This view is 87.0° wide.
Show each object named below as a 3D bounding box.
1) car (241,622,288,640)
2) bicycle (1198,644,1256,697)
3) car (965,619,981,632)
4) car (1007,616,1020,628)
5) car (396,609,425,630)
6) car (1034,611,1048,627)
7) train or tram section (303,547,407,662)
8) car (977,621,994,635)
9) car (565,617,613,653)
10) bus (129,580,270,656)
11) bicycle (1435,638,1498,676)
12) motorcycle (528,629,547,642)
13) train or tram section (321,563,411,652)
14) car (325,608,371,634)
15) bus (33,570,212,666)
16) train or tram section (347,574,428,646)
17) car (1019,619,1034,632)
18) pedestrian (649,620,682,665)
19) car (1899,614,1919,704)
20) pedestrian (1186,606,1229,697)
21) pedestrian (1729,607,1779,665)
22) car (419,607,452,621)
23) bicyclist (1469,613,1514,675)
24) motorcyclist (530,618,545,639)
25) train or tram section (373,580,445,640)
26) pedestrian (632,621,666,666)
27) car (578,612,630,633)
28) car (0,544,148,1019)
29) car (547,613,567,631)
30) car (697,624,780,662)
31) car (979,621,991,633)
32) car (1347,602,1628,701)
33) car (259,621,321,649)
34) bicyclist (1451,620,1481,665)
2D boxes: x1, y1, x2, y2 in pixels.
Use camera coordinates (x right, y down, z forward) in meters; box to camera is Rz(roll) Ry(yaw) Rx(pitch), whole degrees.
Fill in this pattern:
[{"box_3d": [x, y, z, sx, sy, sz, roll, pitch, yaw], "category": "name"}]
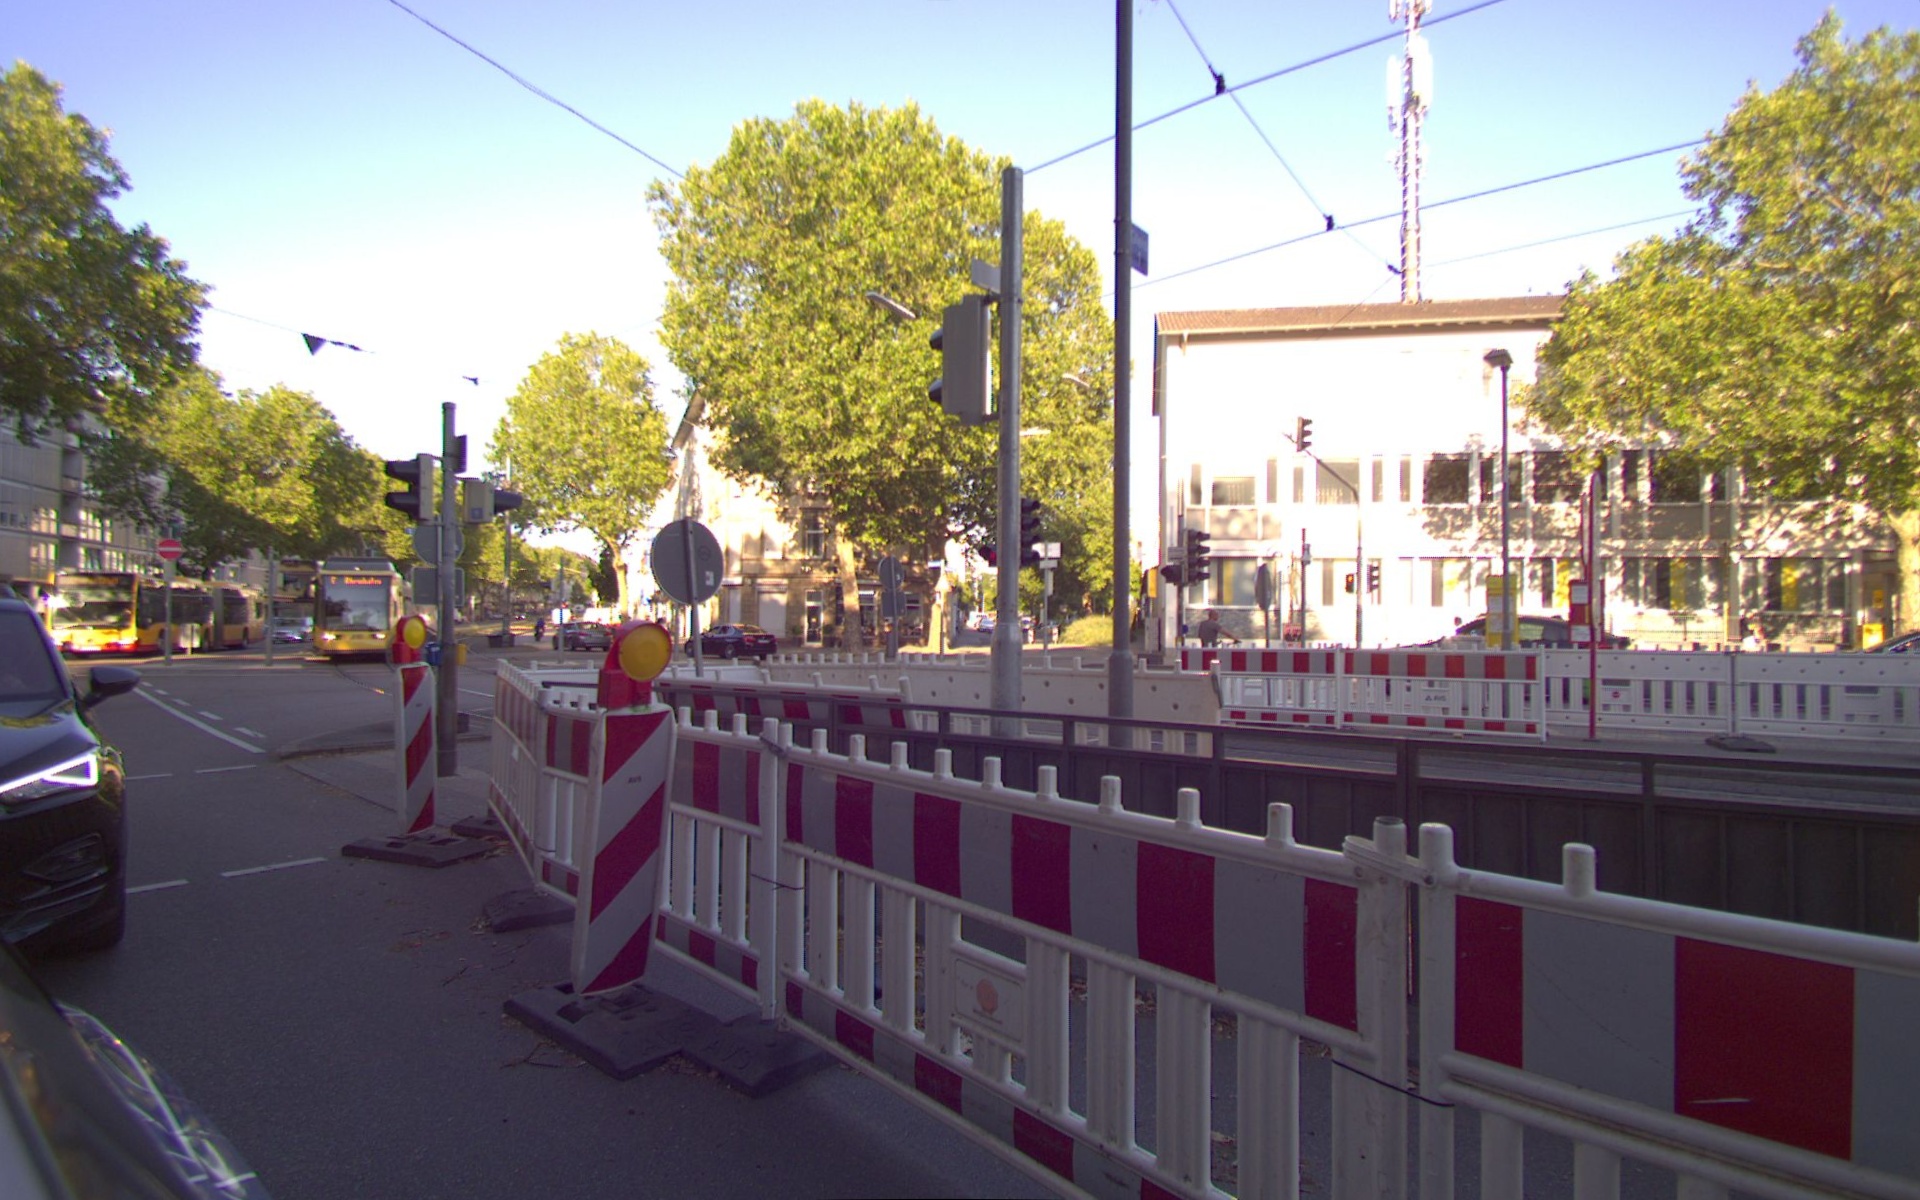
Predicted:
[{"box_3d": [-50.878, 2.258, 74.056, 1.198, 1.226, 2.599, 0, -1, 34], "category": "car"}, {"box_3d": [5.239, 1.357, 19.820, 1.558, 0.973, 0.322, 1, -2, -44], "category": "bicycle"}, {"box_3d": [1.575, 3.025, 121.338, 1.705, 1.505, 3.994, 0, -1, 4], "category": "car"}, {"box_3d": [7.168, 2.903, 134.942, 1.705, 1.505, 3.994, 0, -1, 4], "category": "car"}, {"box_3d": [-50.107, 1.774, 92.290, 1.923, 1.791, 4.013, 1, -1, -23], "category": "car"}, {"box_3d": [10.886, 2.515, 135.625, 1.828, 2.160, 3.994, 0, -1, 4], "category": "car"}, {"box_3d": [-21.420, 0.227, 36.109, 2.777, 3.514, 10.370, 0, -1, -30], "category": "train or tram section"}, {"box_3d": [2.919, 3.153, 115.195, 1.705, 1.505, 3.994, 0, -1, 4], "category": "car"}, {"box_3d": [-18.286, 1.727, 49.703, 1.920, 1.667, 4.705, 1, -2, -24], "category": "car"}, {"box_3d": [-34.523, 0.839, 46.411, 2.707, 3.127, 9.528, 1, -1, -22], "category": "bus"}, {"box_3d": [13.442, 1.512, 26.875, 1.457, 0.974, 0.407, -1, -2, 33], "category": "bicycle"}, {"box_3d": [-27.679, 2.300, 66.283, 0.671, 0.814, 1.999, 1, -1, -37], "category": "motorcycle"}, {"box_3d": [-26.335, 0.375, 45.273, 2.795, 3.514, 10.372, 0, -1, -27], "category": "train or tram section"}, {"box_3d": [-43.551, 1.476, 72.076, 1.923, 1.791, 4.012, 1, 0, -18], "category": "car"}, {"box_3d": [-30.756, 0.680, 37.707, 2.707, 3.127, 9.528, 1, -1, -24], "category": "bus"}, {"box_3d": [-30.740, 0.543, 54.723, 2.830, 3.514, 10.372, 0, -1, -24], "category": "train or tram section"}, {"box_3d": [7.907, 3.068, 120.477, 1.705, 1.505, 3.994, 0, -1, 4], "category": "car"}, {"box_3d": [-10.121, 1.450, 34.781, 0.795, 1.520, 0.793, 0, -1, 18], "category": "pedestrian"}, {"box_3d": [20.748, 1.123, 18.803, 4.576, 1.679, 1.878, -1, 0, 35], "category": "car"}, {"box_3d": [4.936, 1.004, 20.176, 0.588, 1.772, 0.597, 1, -2, -43], "category": "pedestrian"}, {"box_3d": [24.044, 1.085, 30.662, 0.875, 1.742, 0.805, 0, -1, 10], "category": "pedestrian"}, {"box_3d": [-77.484, 2.111, 149.489, 1.874, 2.029, 3.956, -1, -1, 32], "category": "car"}, {"box_3d": [11.514, 0.940, 21.913, 0.803, 1.304, 0.555, -1, -2, 34], "category": "bicyclist"}, {"box_3d": [-27.676, 1.842, 66.280, 0.671, 1.325, 0.987, 1, -1, -37], "category": "motorcyclist"}, {"box_3d": [-34.811, 0.659, 64.240, 2.795, 3.514, 10.372, 0, -1, -22], "category": "train or tram section"}, {"box_3d": [-10.441, 1.449, 33.970, 0.794, 1.520, 0.794, 0, -1, 12], "category": "pedestrian"}, {"box_3d": [-34.027, 2.161, 96.936, 1.895, 1.991, 4.604, -1, -1, 29], "category": "car"}, {"box_3d": [-5.263, 0.670, 4.717, 4.301, 1.670, 1.823, -1, -1, 45], "category": "car"}, {"box_3d": [-49.743, 2.765, 125.038, 2.131, 2.138, 4.994, 2, -2, -20], "category": "car"}, {"box_3d": [-9.141, 1.746, 41.531, 1.966, 1.459, 4.551, 1, -2, -32], "category": "car"}, {"box_3d": [4.273, 4.520, 171.823, 1.828, 2.031, 3.994, 0, -1, 4], "category": "car"}, {"box_3d": [10.033, 0.908, 19.382, 4.576, 1.679, 1.878, -1, 0, 35], "category": "car"}, {"box_3d": [-39.407, 2.024, 59.668, 1.880, 1.486, 4.431, 1, 0, -17], "category": "car"}, {"box_3d": [13.437, 1.112, 26.886, 0.661, 1.182, 0.407, -1, -2, 32], "category": "bicyclist"}]
